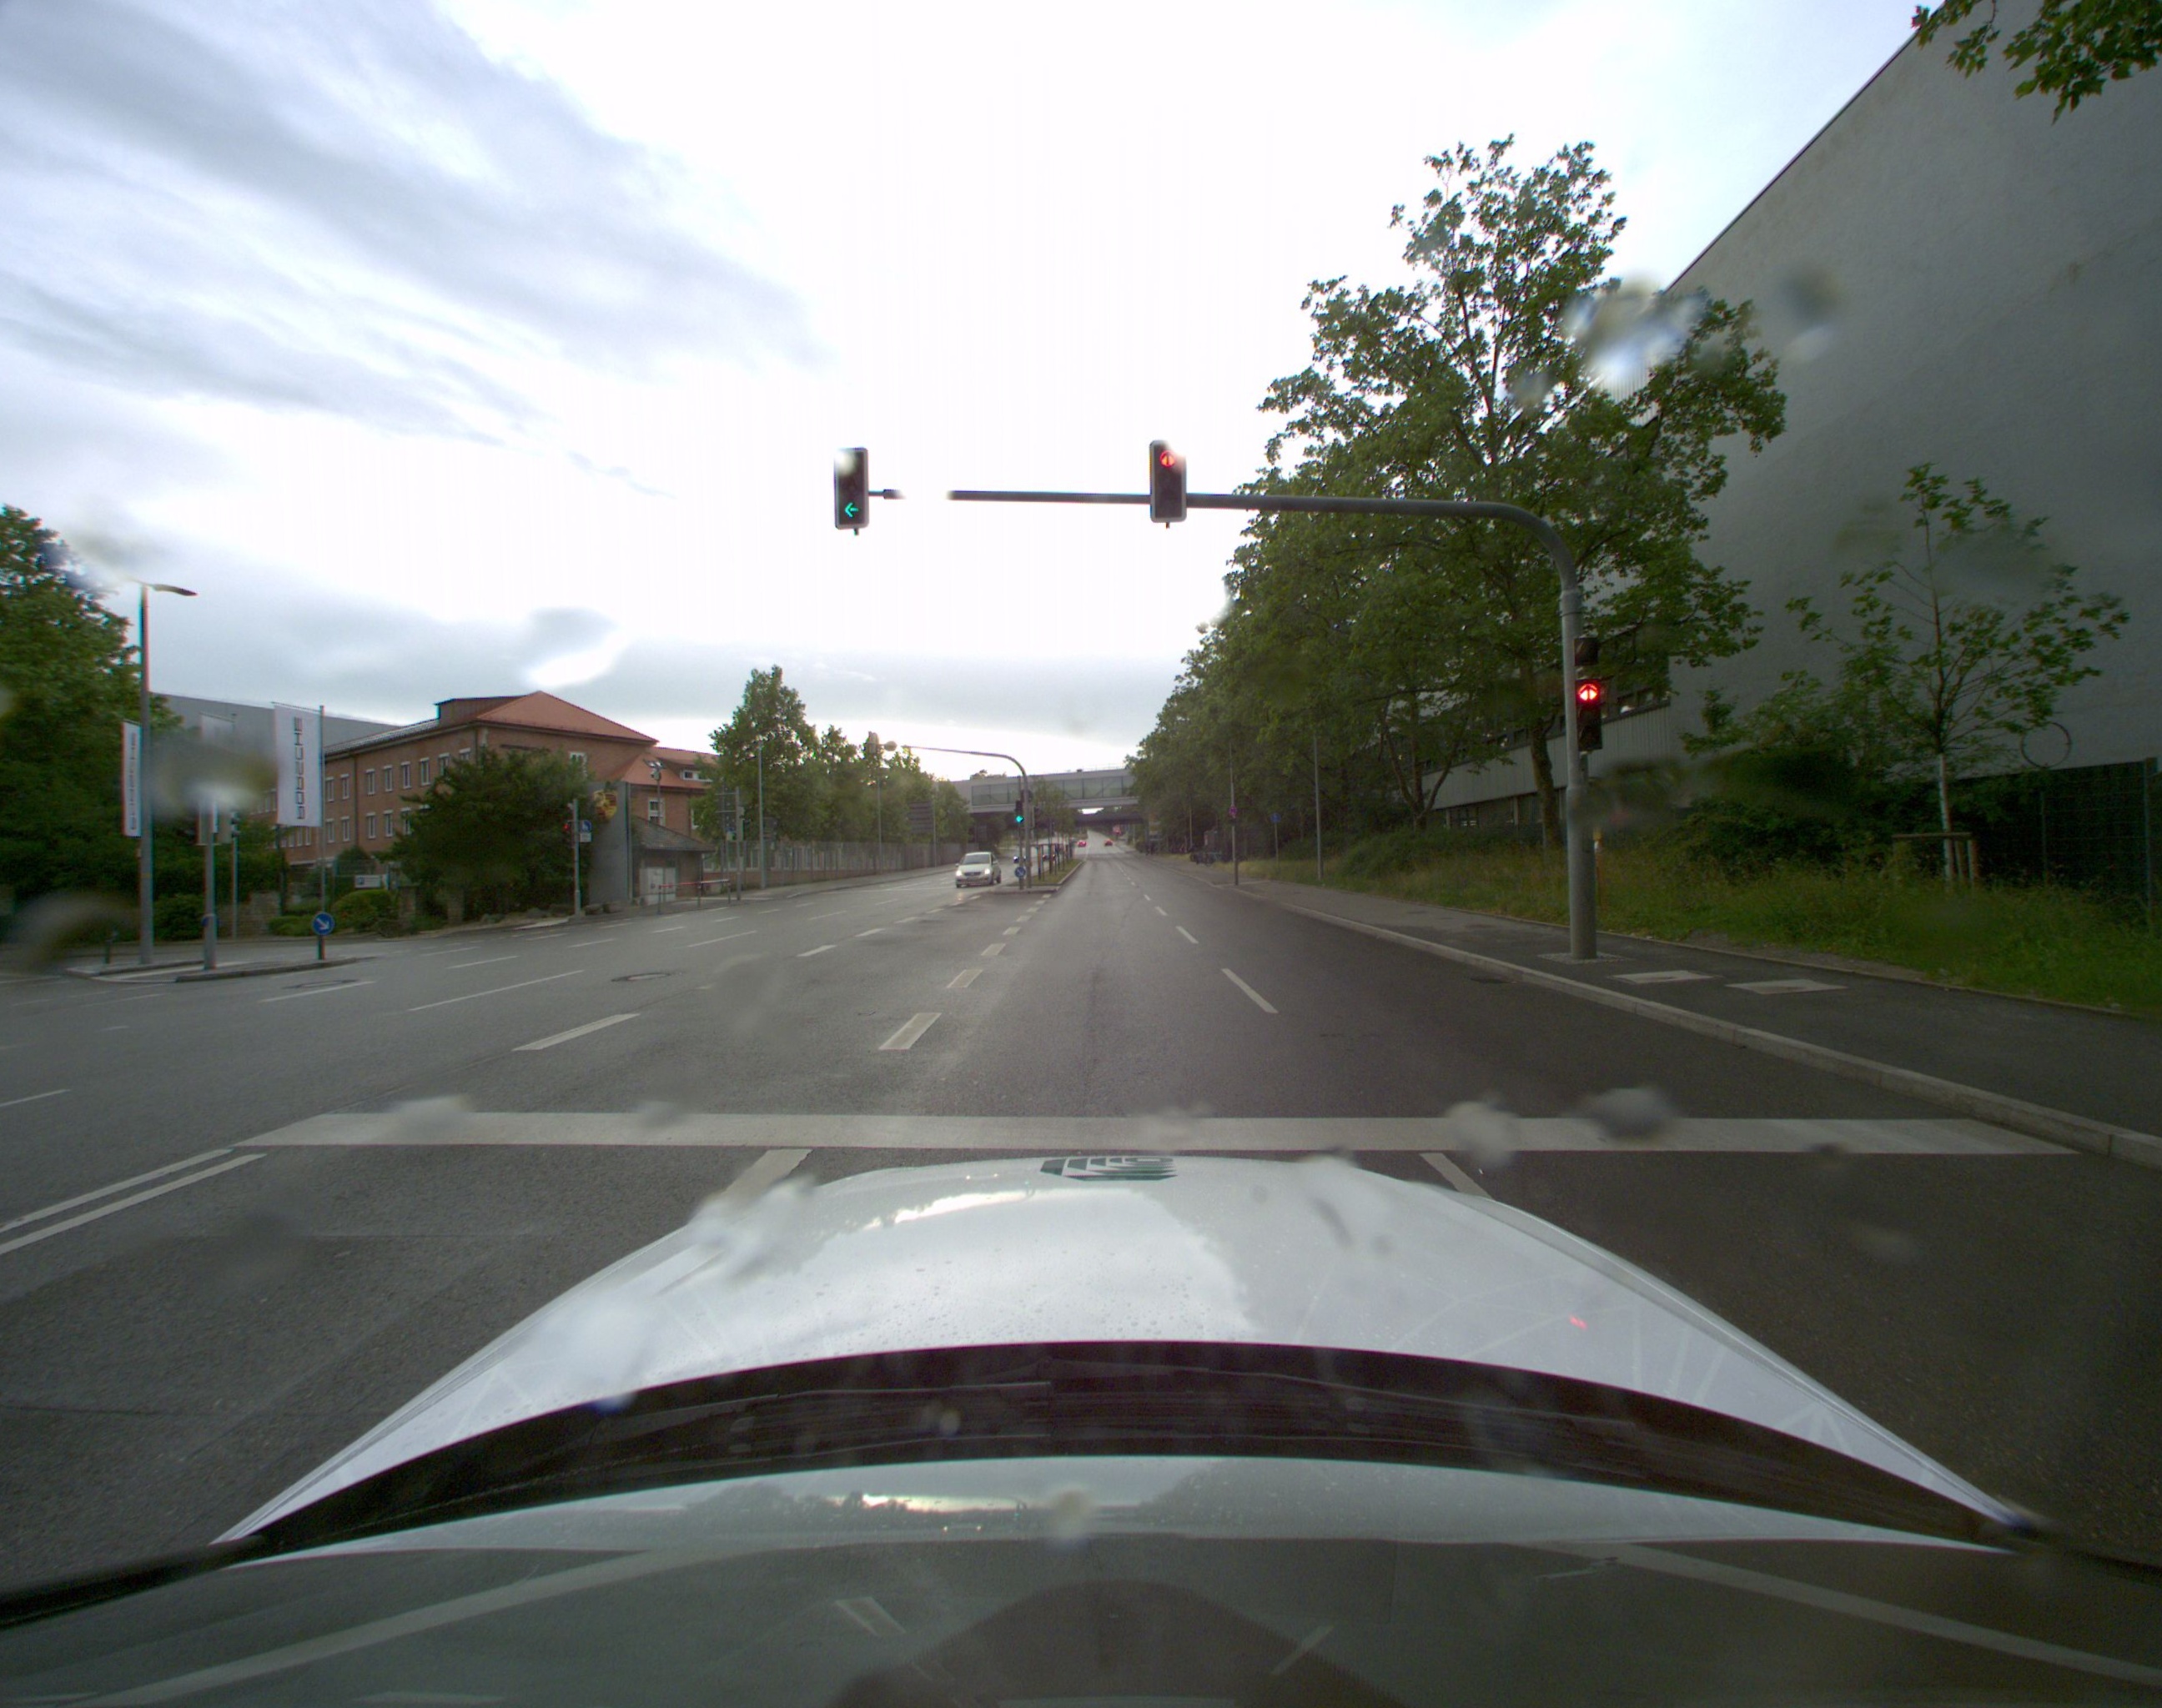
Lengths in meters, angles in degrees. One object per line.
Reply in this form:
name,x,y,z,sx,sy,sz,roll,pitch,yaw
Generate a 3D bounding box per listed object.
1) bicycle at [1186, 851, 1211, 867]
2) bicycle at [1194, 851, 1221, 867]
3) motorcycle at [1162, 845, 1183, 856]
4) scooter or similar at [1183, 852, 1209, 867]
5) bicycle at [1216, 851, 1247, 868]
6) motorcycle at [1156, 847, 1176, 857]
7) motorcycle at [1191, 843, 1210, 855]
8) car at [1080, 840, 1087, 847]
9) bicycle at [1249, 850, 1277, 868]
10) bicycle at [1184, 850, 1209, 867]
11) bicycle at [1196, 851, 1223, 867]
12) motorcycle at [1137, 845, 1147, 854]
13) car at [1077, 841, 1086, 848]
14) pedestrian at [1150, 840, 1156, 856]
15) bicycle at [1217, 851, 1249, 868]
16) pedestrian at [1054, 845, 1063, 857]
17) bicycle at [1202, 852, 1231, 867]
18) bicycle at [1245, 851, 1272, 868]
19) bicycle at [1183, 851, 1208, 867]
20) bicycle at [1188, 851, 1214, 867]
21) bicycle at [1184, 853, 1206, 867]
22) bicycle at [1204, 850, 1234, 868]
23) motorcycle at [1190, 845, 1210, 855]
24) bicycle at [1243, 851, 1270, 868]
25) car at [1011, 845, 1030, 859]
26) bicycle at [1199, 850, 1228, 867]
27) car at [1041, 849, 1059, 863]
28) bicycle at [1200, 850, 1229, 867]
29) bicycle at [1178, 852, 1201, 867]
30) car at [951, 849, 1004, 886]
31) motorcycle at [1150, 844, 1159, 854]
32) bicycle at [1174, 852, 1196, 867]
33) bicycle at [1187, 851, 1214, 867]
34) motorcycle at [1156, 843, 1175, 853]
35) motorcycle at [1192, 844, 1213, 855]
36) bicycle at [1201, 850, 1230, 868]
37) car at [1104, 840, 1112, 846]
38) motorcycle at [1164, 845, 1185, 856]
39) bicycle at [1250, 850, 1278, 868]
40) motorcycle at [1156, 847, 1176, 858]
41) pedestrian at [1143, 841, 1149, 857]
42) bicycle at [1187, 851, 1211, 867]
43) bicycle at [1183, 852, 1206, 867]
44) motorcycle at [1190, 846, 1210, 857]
bicycle,9.693,0.436,67.231,1.982,1.328,0.576,0,-1,2
bicycle,9.684,0.395,62.196,1.982,1.242,0.541,0,-1,2
motorcycle,10.680,-0.415,95.160,2.354,1.202,0.724,-3,0,9
scooter or similar,9.063,0.458,64.378,1.982,1.138,0.541,0,-1,2
bicycle,10.142,0.365,54.812,1.982,1.094,0.541,0,-1,2
motorcycle,10.511,-0.264,101.046,2.354,1.202,0.724,-3,0,9
motorcycle,15.771,-0.649,107.341,2.354,1.476,0.724,-3,0,9
car,0.666,-2.660,213.775,1.877,1.762,3.970,0,-1,2
bicycle,13.758,0.386,61.481,1.982,1.328,0.576,0,-1,2
bicycle,9.664,0.384,67.966,1.982,1.430,0.723,0,-1,2
bicycle,9.657,0.381,61.247,1.982,1.242,0.541,0,-1,2
motorcycle,9.425,-0.702,125.868,0.792,1.311,2.363,-3,0,-16
car,0.130,-2.465,207.435,1.986,1.762,4.002,0,-1,2
pedestrian,9.239,-0.716,104.430,0.619,2.013,0.606,-3,0,2
bicycle,10.122,0.357,54.244,1.982,1.094,0.541,0,-1,2
pedestrian,-3.622,-0.498,130.968,0.863,2.004,0.860,-3,0,41
bicycle,9.611,0.400,57.894,1.982,1.094,0.541,0,-1,2
bicycle,13.824,0.417,63.587,1.982,1.328,0.576,0,-1,2
bicycle,9.339,0.420,66.296,1.982,1.328,0.576,0,-1,2
bicycle,9.634,0.411,65.479,1.982,1.328,0.576,0,-1,2
bicycle,10.665,0.563,76.236,1.955,1.328,0.654,0,-1,2
bicycle,9.510,0.320,56.289,1.982,1.216,0.541,0,-1,2
motorcycle,14.638,-0.479,100.504,2.354,1.202,0.724,-3,0,9
bicycle,13.854,0.426,64.211,1.982,1.328,0.576,0,-1,2
car,-7.404,-0.242,100.691,1.870,1.624,3.780,-2,0,2
bicycle,9.712,0.359,59.737,1.982,1.242,0.541,0,-1,2
car,-3.962,0.262,104.159,1.870,1.624,3.780,-2,0,2
bicycle,9.685,0.351,59.161,1.982,1.242,0.541,0,-1,2
bicycle,9.740,0.509,73.061,1.955,1.328,0.654,0,-1,2
car,-4.958,0.625,39.385,1.870,1.624,3.780,-2,0,2
motorcycle,10.909,-0.739,120.867,0.789,1.311,2.371,-3,0,-7
bicycle,9.519,0.532,74.788,1.955,1.328,0.654,0,-1,2
bicycle,9.333,0.412,63.579,1.982,1.242,0.541,0,-1,2
motorcycle,11.030,-0.760,106.596,2.354,1.202,0.724,-3,0,9
motorcycle,14.810,-0.527,99.245,2.354,1.202,0.724,-3,0,9
bicycle,9.647,0.345,58.476,1.982,1.233,0.541,0,-1,2
car,6.787,-2.680,203.541,1.868,1.497,4.070,0,-1,2
motorcycle,11.145,-0.385,97.319,2.354,1.202,0.724,-3,0,9
bicycle,13.525,0.365,60.157,1.982,1.328,0.576,0,-1,2
motorcycle,10.665,-0.219,101.957,2.354,1.202,0.724,-3,0,9
pedestrian,8.403,-0.661,104.909,0.619,2.013,0.606,-3,0,2
bicycle,9.992,0.450,68.812,1.982,1.328,0.576,0,-1,2
bicycle,9.870,0.477,70.765,1.953,1.328,0.576,0,-1,2
motorcycle,14.908,-0.328,101.776,2.354,1.202,0.724,-3,0,9
